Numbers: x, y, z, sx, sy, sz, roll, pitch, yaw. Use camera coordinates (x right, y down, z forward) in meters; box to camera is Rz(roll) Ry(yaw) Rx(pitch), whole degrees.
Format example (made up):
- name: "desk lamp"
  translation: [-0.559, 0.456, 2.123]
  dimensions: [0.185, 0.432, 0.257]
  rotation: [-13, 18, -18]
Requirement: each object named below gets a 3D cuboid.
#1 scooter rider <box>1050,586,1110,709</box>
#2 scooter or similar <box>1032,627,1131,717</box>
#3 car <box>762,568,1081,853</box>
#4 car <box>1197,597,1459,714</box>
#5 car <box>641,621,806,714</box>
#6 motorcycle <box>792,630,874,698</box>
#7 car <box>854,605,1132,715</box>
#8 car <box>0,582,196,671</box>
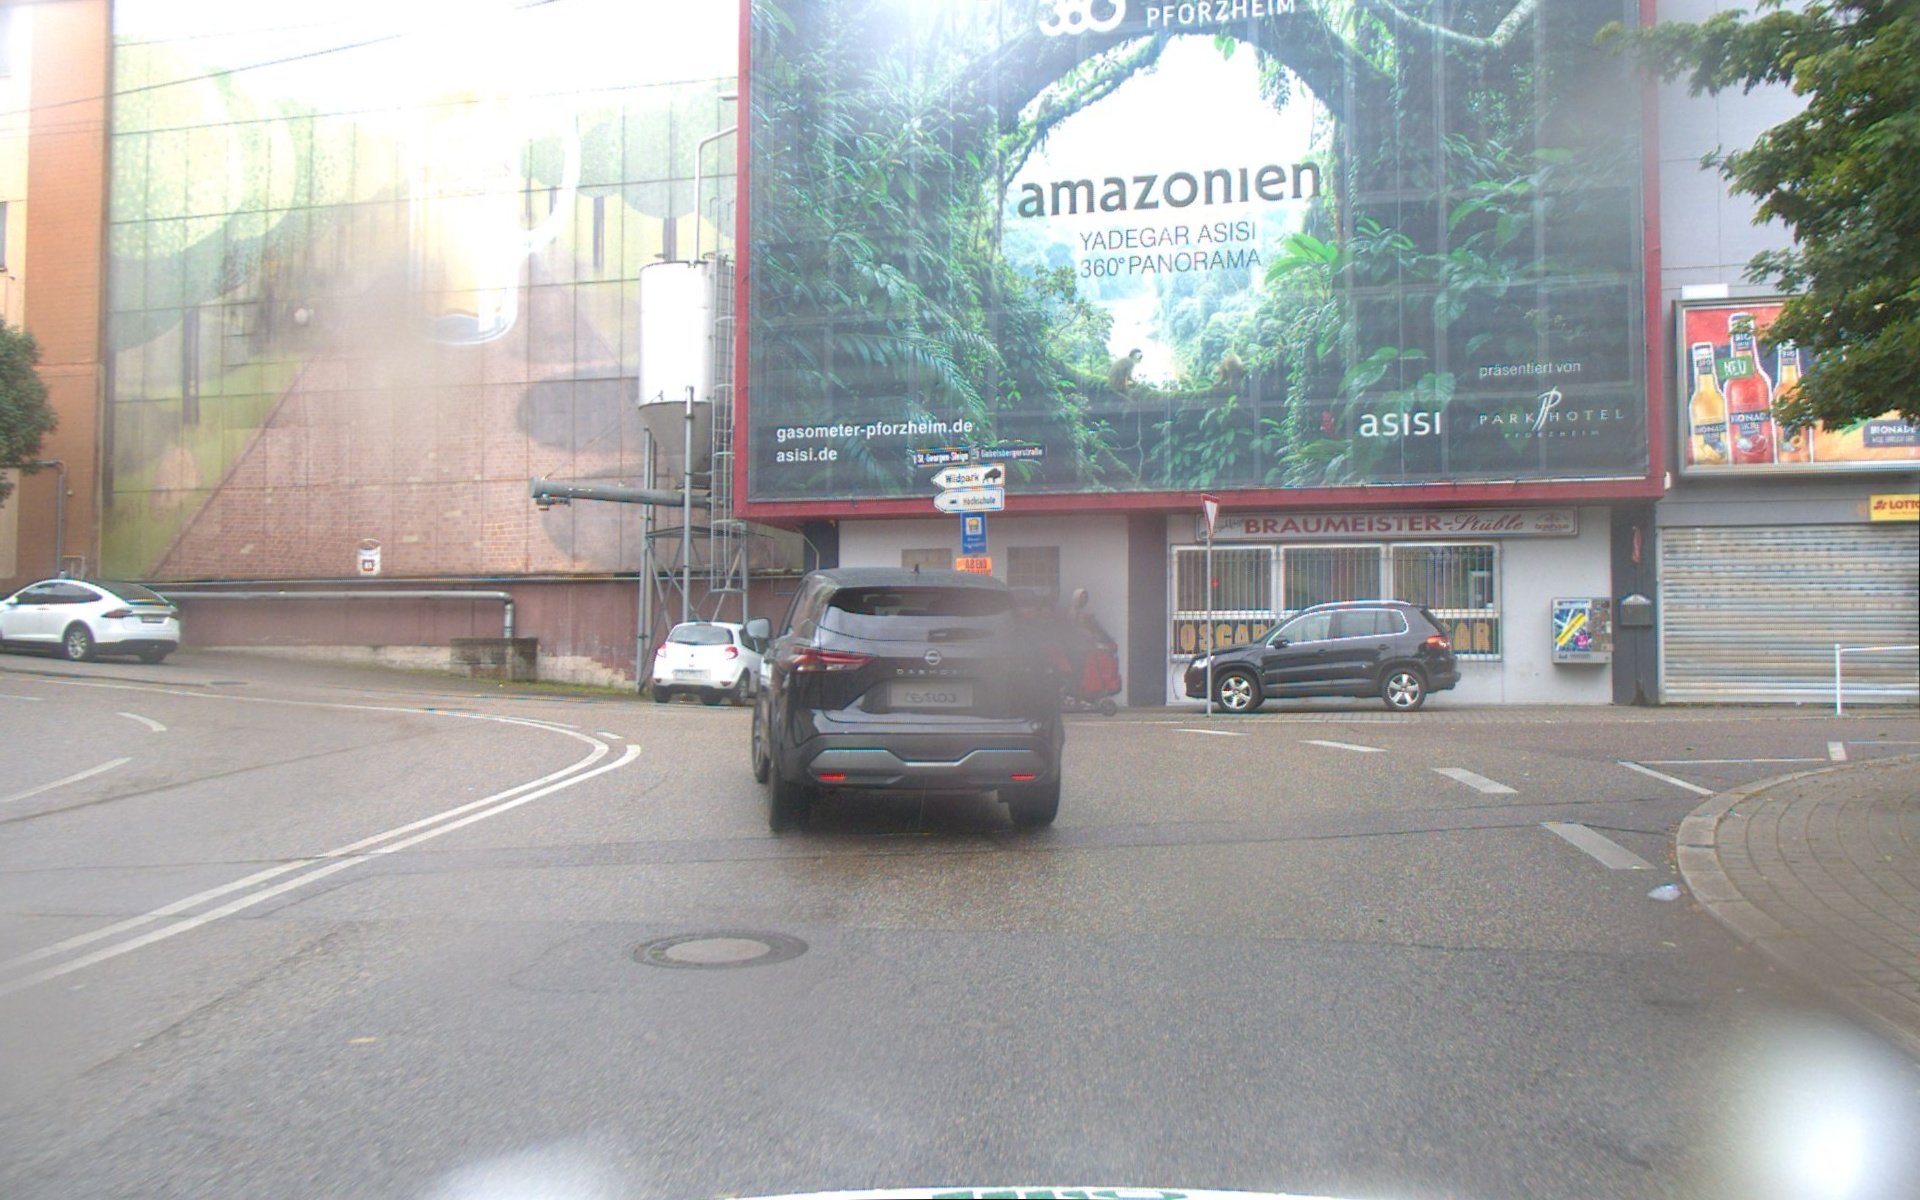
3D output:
- name: "scooter rider"
  translation: [1.854, 0.721, 25.476]
  dimensions: [0.762, 1.853, 0.805]
  rotation: [-1, -1, 16]
- name: "scooter or similar"
  translation: [1.877, 1.094, 25.463]
  dimensions: [1.374, 1.346, 0.805]
  rotation: [-1, -1, 16]
- name: "car"
  translation: [-0.434, 0.596, 11.499]
  dimensions: [1.845, 1.621, 3.916]
  rotation: [0, 1, -7]
- name: "car"
  translation: [5.856, 0.886, 26.330]
  dimensions: [3.902, 1.741, 1.934]
  rotation: [-1, -2, 15]
- name: "car"
  translation: [-4.362, 1.207, 31.125]
  dimensions: [1.829, 1.560, 3.996]
  rotation: [1, 0, 12]
- name: "motorcycle"
  translation: [-2.263, 1.143, 29.478]
  dimensions: [1.389, 1.181, 0.452]
  rotation: [1, -3, 2]
- name: "car"
  translation: [0.592, 1.001, 28.182]
  dimensions: [4.382, 1.742, 1.934]
  rotation: [0, -2, 15]
- name: "car"
  translation: [-19.089, 0.549, 35.811]
  dimensions: [4.803, 1.645, 1.857]
  rotation: [3, -1, 25]
